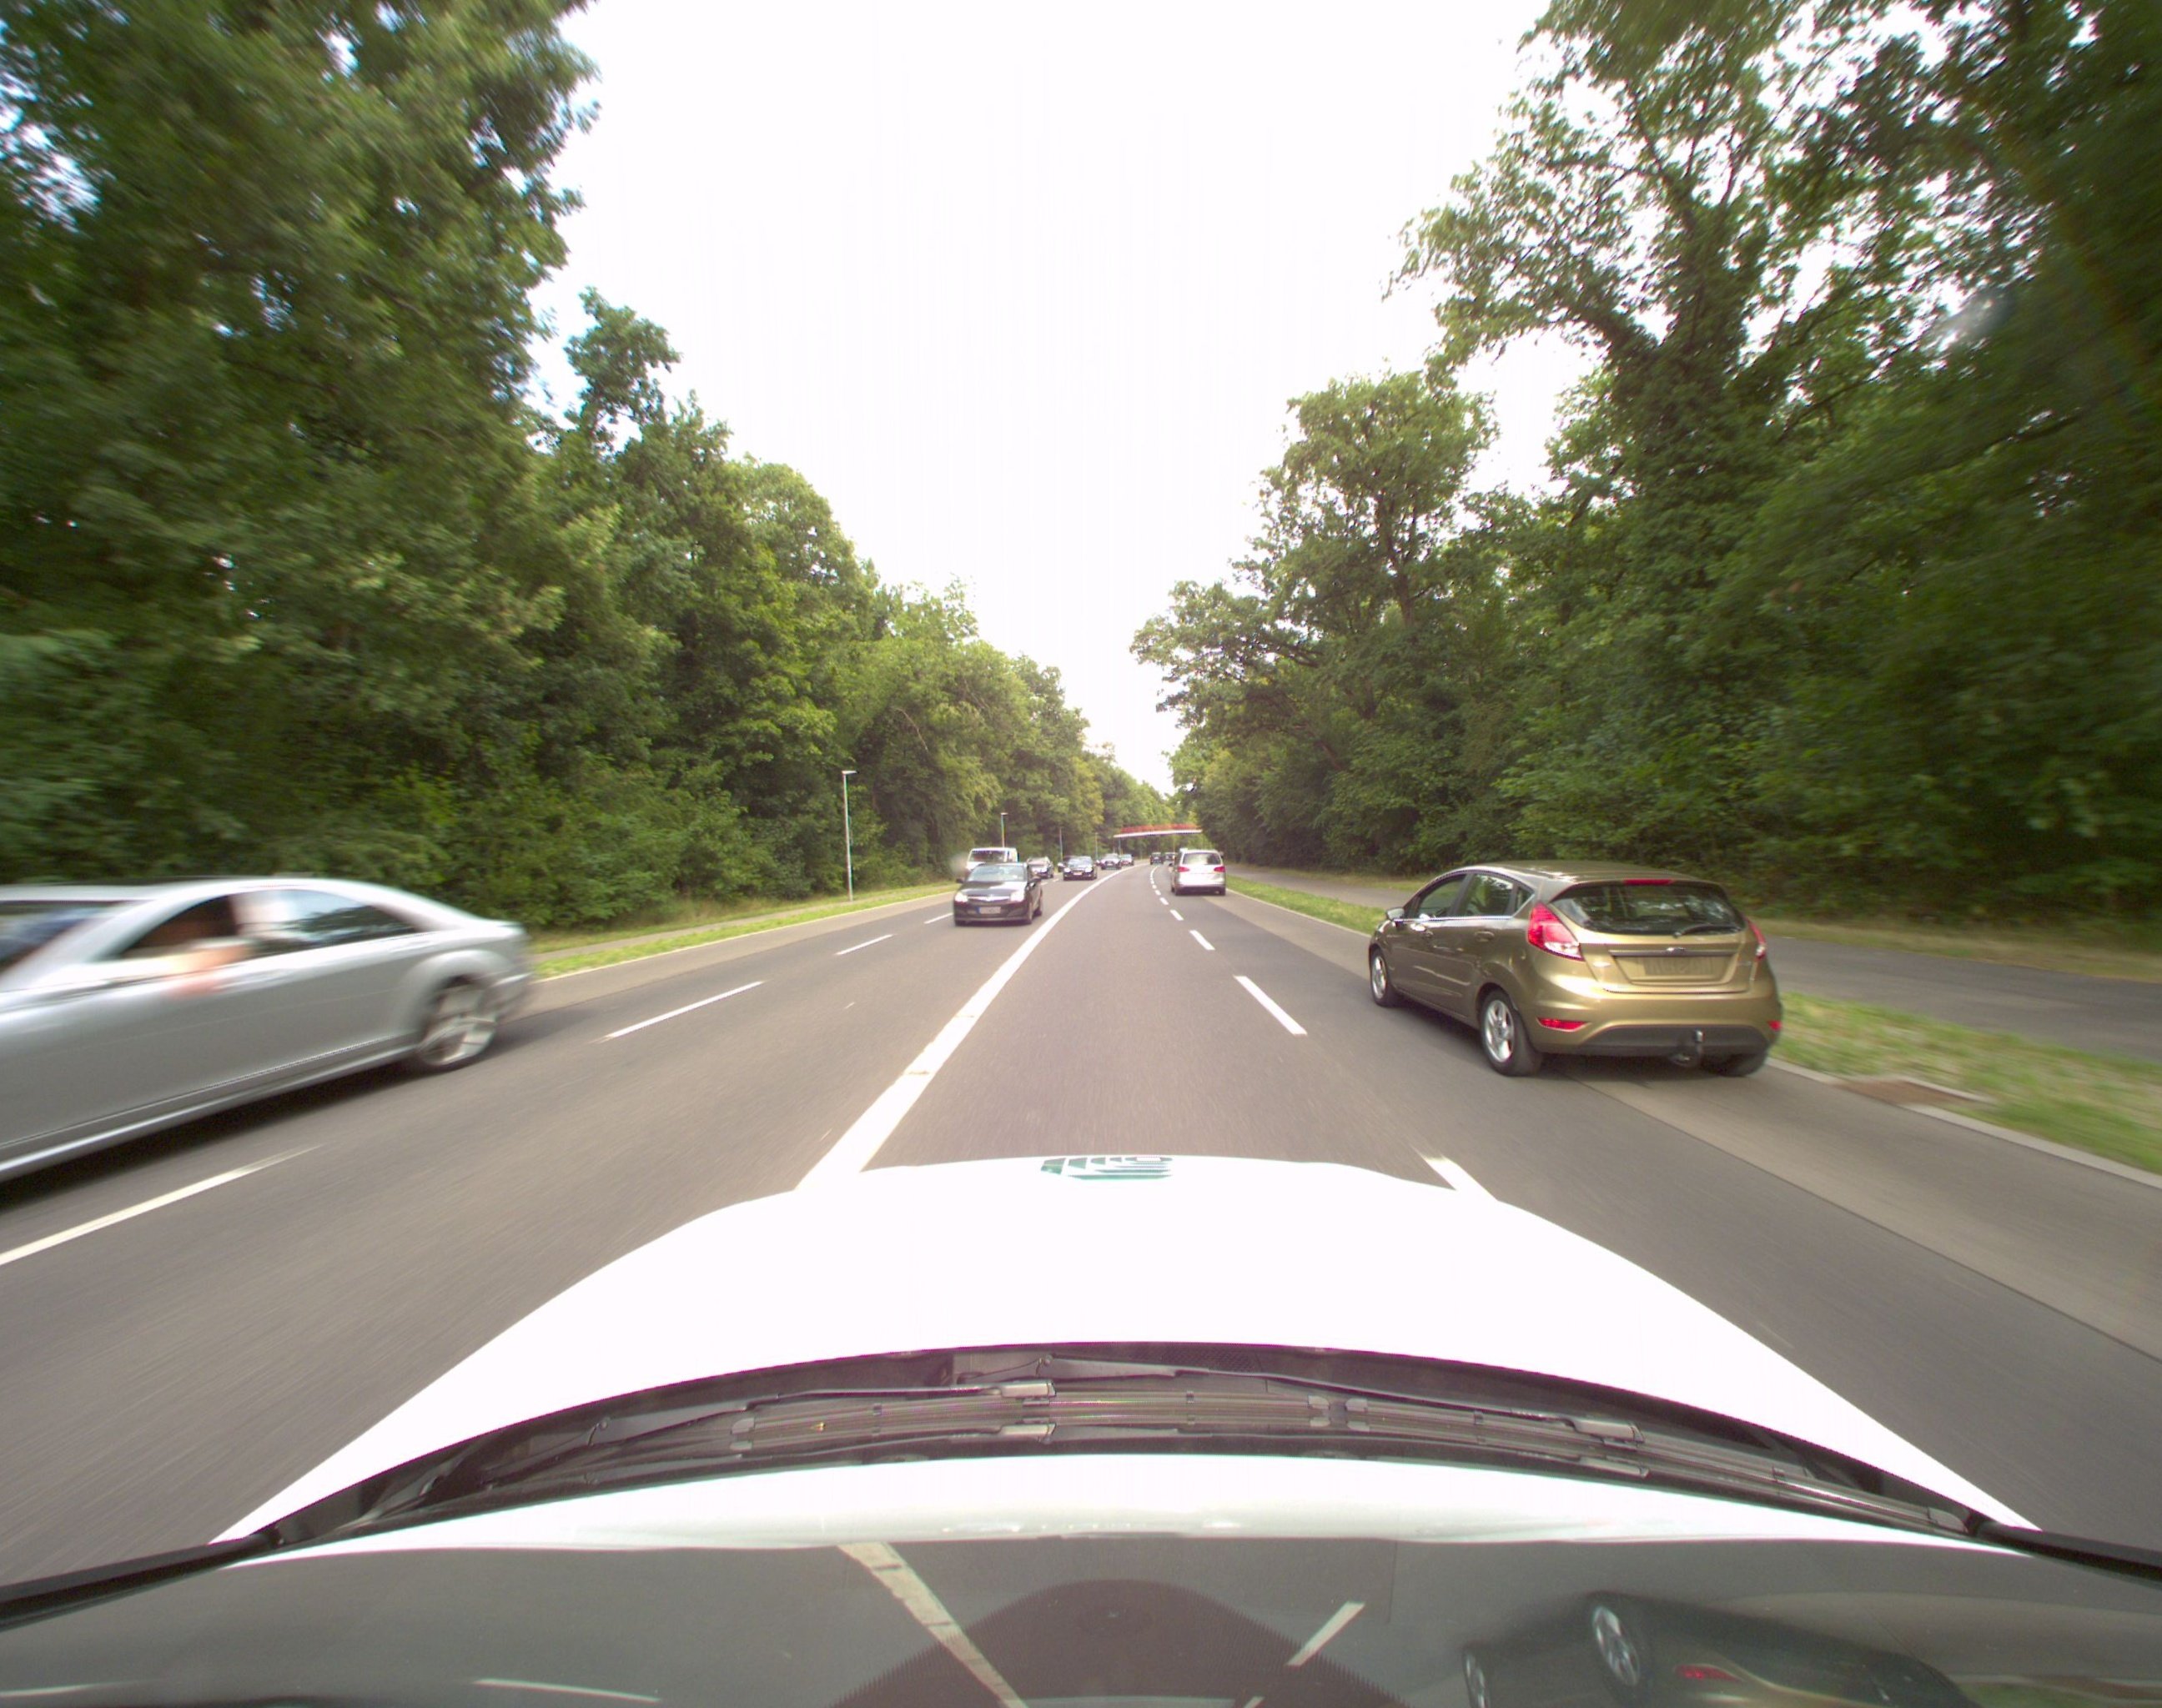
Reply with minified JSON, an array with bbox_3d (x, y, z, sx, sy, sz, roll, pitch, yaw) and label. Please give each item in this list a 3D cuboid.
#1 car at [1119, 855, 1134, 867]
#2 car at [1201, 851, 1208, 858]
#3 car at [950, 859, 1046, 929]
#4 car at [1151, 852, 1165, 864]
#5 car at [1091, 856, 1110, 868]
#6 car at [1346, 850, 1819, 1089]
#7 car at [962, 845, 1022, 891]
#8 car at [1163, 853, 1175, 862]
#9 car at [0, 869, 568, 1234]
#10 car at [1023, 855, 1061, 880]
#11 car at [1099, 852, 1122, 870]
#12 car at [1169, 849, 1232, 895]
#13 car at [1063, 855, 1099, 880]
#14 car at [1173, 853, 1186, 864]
[{"bbox_3d":[5.937,0.889,106.224,1.688,1.386,3.834,-4,-1,7],"label":"car"},{"bbox_3d":[34.875,0.111,229.536,1.982,1.706,4.010,-4,0,9],"label":"car"},{"bbox_3d":[-1.853,0.876,19.286,1.649,1.486,3.870,0,-1,3],"label":"car"},{"bbox_3d":[10.906,0.559,115.652,1.719,1.587,4.010,0,-1,9],"label":"car"},{"bbox_3d":[2.584,1.098,105.706,1.982,1.552,4.009,0,-1,8],"label":"car"},{"bbox_3d":[3.649,0.722,6.878,1.629,1.420,4.001,0,-1,2],"label":"car"},{"bbox_3d":[-4.158,0.664,38.807,1.985,2.014,5.057,-2,-1,3],"label":"car"},{"bbox_3d":[16.772,0.719,155.529,1.981,1.697,4.010,0,-1,9],"label":"car"},{"bbox_3d":[-5.612,0.878,4.900,1.986,1.563,4.605,0,-1,2],"label":"car"},{"bbox_3d":[-2.560,0.899,54.507,1.876,1.558,4.524,-1,-1,5],"label":"car"},{"bbox_3d":[3.022,0.732,82.987,1.953,1.706,4.007,-4,-1,6],"label":"car"},{"bbox_3d":[4.456,0.670,30.899,1.986,1.607,4.002,0,-1,2],"label":"car"},{"bbox_3d":[0.034,0.830,50.876,1.876,1.478,4.524,0,-1,5],"label":"car"},{"bbox_3d":[17.134,0.805,142.027,1.981,1.750,4.011,0,-1,10],"label":"car"}]
